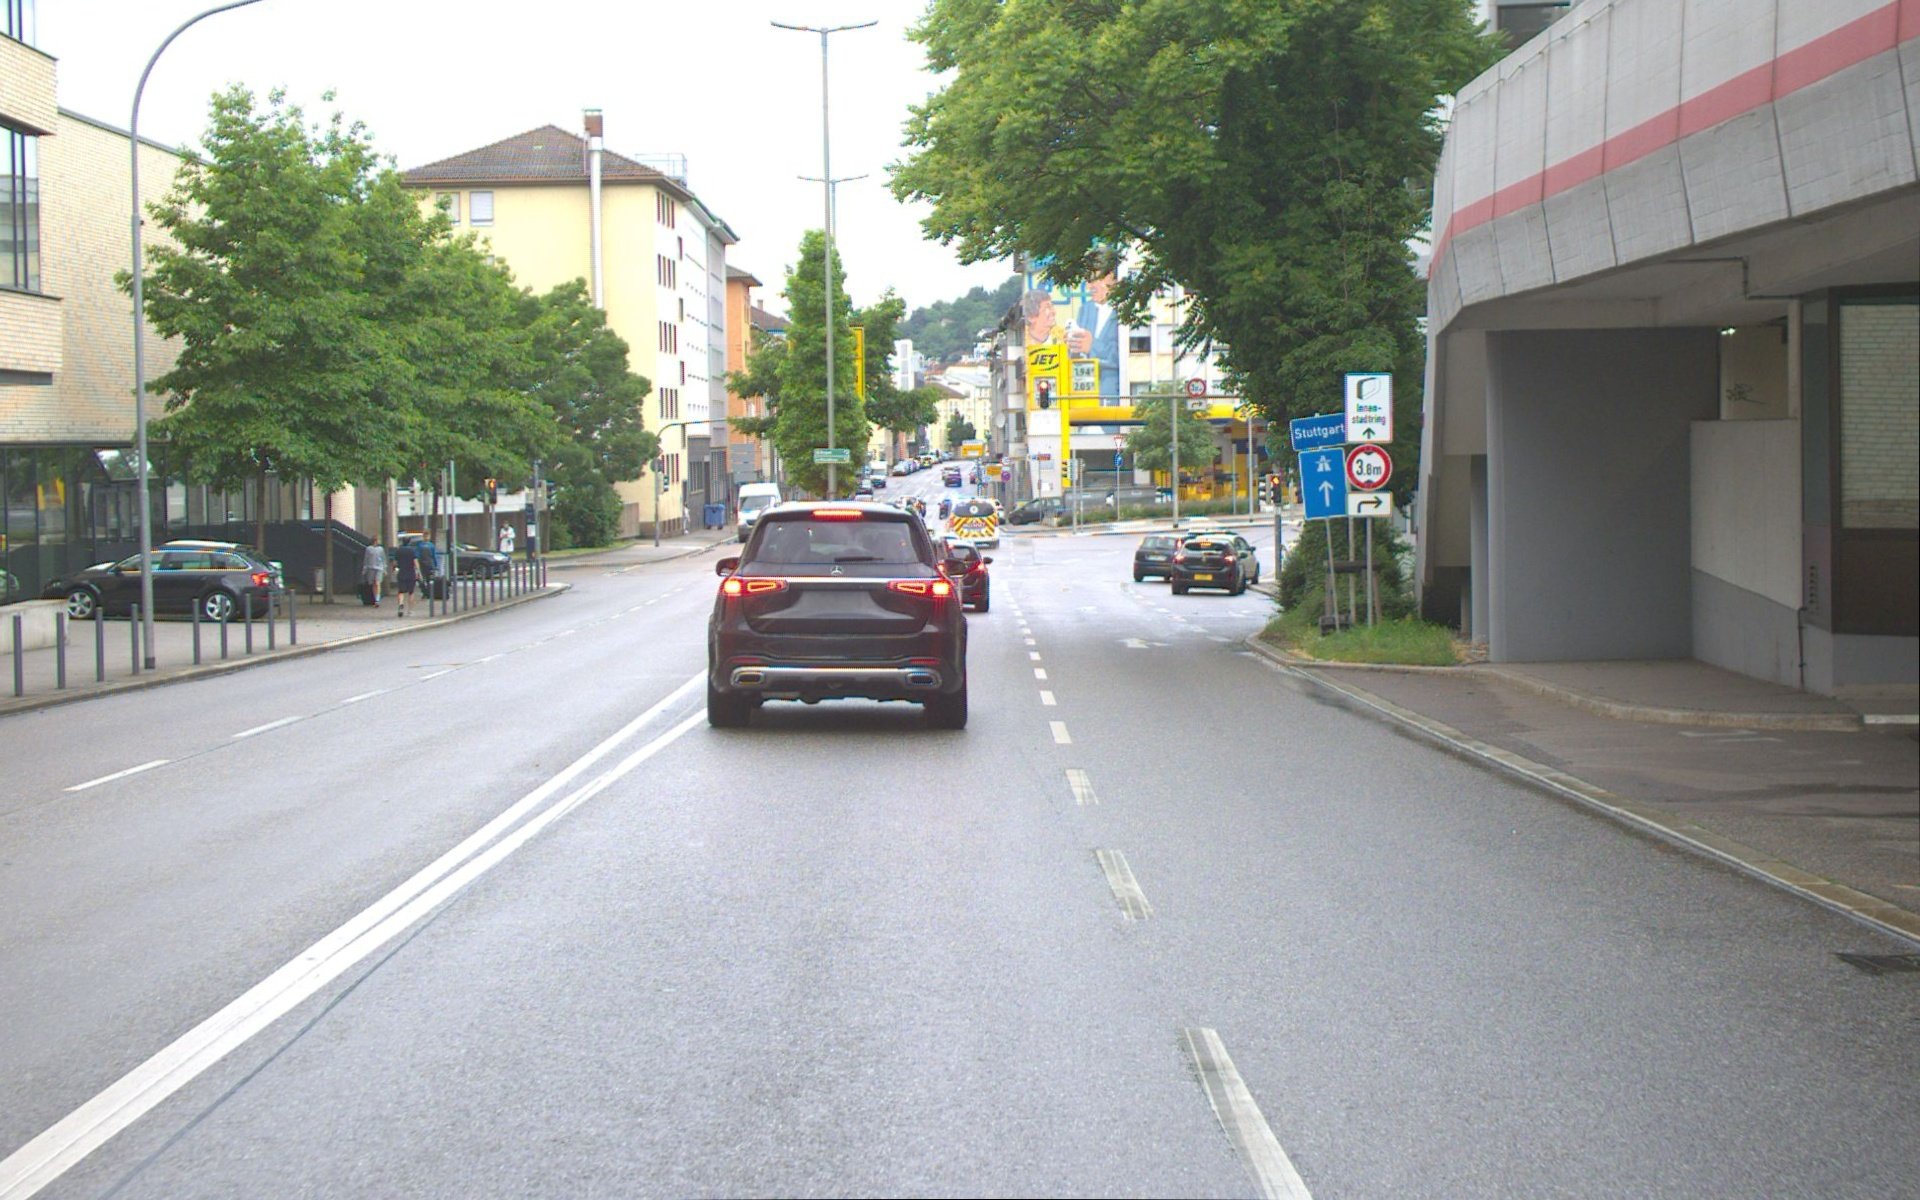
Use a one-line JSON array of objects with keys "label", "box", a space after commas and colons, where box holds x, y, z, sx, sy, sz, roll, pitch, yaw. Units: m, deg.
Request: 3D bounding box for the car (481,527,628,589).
[{"label": "car", "box": [-13.478, -1.402, 114.256, 4.803, 2.006, 2.001, 0, 2, -7]}]

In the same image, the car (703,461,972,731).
[{"label": "car", "box": [-0.966, -0.049, 28.046, 1.993, 2.007, 4.000, 1, 0, -1]}]

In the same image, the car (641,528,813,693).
[{"label": "car", "box": [-2.978, 0.109, 44.620, 1.993, 2.007, 4.000, 1, 0, -1]}]

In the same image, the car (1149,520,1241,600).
[{"label": "car", "box": [6.073, -1.053, 89.367, 1.993, 2.007, 4.001, 0, 1, -2]}]

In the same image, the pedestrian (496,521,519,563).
[{"label": "pedestrian", "box": [-15.853, -2.028, 120.498, 0.711, 1.457, 0.598, 1, 0, -1]}]

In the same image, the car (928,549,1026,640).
[{"label": "car", "box": [0.320, -0.117, 67.811, 1.703, 1.710, 3.444, 1, 0, -3]}]

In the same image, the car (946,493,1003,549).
[{"label": "car", "box": [0.538, -2.996, 129.567, 1.993, 2.006, 4.001, 1, 2, -1]}]

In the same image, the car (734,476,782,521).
[{"label": "car", "box": [-9.196, -4.624, 157.058, 1.993, 1.868, 5.142, 1, 0, -2]}]

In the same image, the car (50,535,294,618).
[{"label": "car", "box": [-15.479, -0.478, 67.738, 4.467, 1.581, 2.000, 0, 1, -6]}]

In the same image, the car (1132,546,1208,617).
[{"label": "car", "box": [6.179, -0.554, 101.355, 1.993, 2.007, 4.000, 1, 0, 1]}]

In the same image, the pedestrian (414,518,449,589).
[{"label": "pedestrian", "box": [-13.095, -1.149, 85.195, 0.688, 1.720, 0.754, 1, -2, 0]}]

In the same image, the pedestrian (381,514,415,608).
[{"label": "pedestrian", "box": [-12.179, -0.848, 74.499, 0.587, 2.007, 0.749, 1, 0, -2]}]

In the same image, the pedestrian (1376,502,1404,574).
[{"label": "pedestrian", "box": [9.141, -1.318, 73.081, 0.551, 1.527, 0.488, 1, 0, 7]}]

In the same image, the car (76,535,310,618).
[{"label": "car", "box": [-15.552, -0.487, 69.882, 4.415, 1.568, 2.001, 1, 3, -5]}]
